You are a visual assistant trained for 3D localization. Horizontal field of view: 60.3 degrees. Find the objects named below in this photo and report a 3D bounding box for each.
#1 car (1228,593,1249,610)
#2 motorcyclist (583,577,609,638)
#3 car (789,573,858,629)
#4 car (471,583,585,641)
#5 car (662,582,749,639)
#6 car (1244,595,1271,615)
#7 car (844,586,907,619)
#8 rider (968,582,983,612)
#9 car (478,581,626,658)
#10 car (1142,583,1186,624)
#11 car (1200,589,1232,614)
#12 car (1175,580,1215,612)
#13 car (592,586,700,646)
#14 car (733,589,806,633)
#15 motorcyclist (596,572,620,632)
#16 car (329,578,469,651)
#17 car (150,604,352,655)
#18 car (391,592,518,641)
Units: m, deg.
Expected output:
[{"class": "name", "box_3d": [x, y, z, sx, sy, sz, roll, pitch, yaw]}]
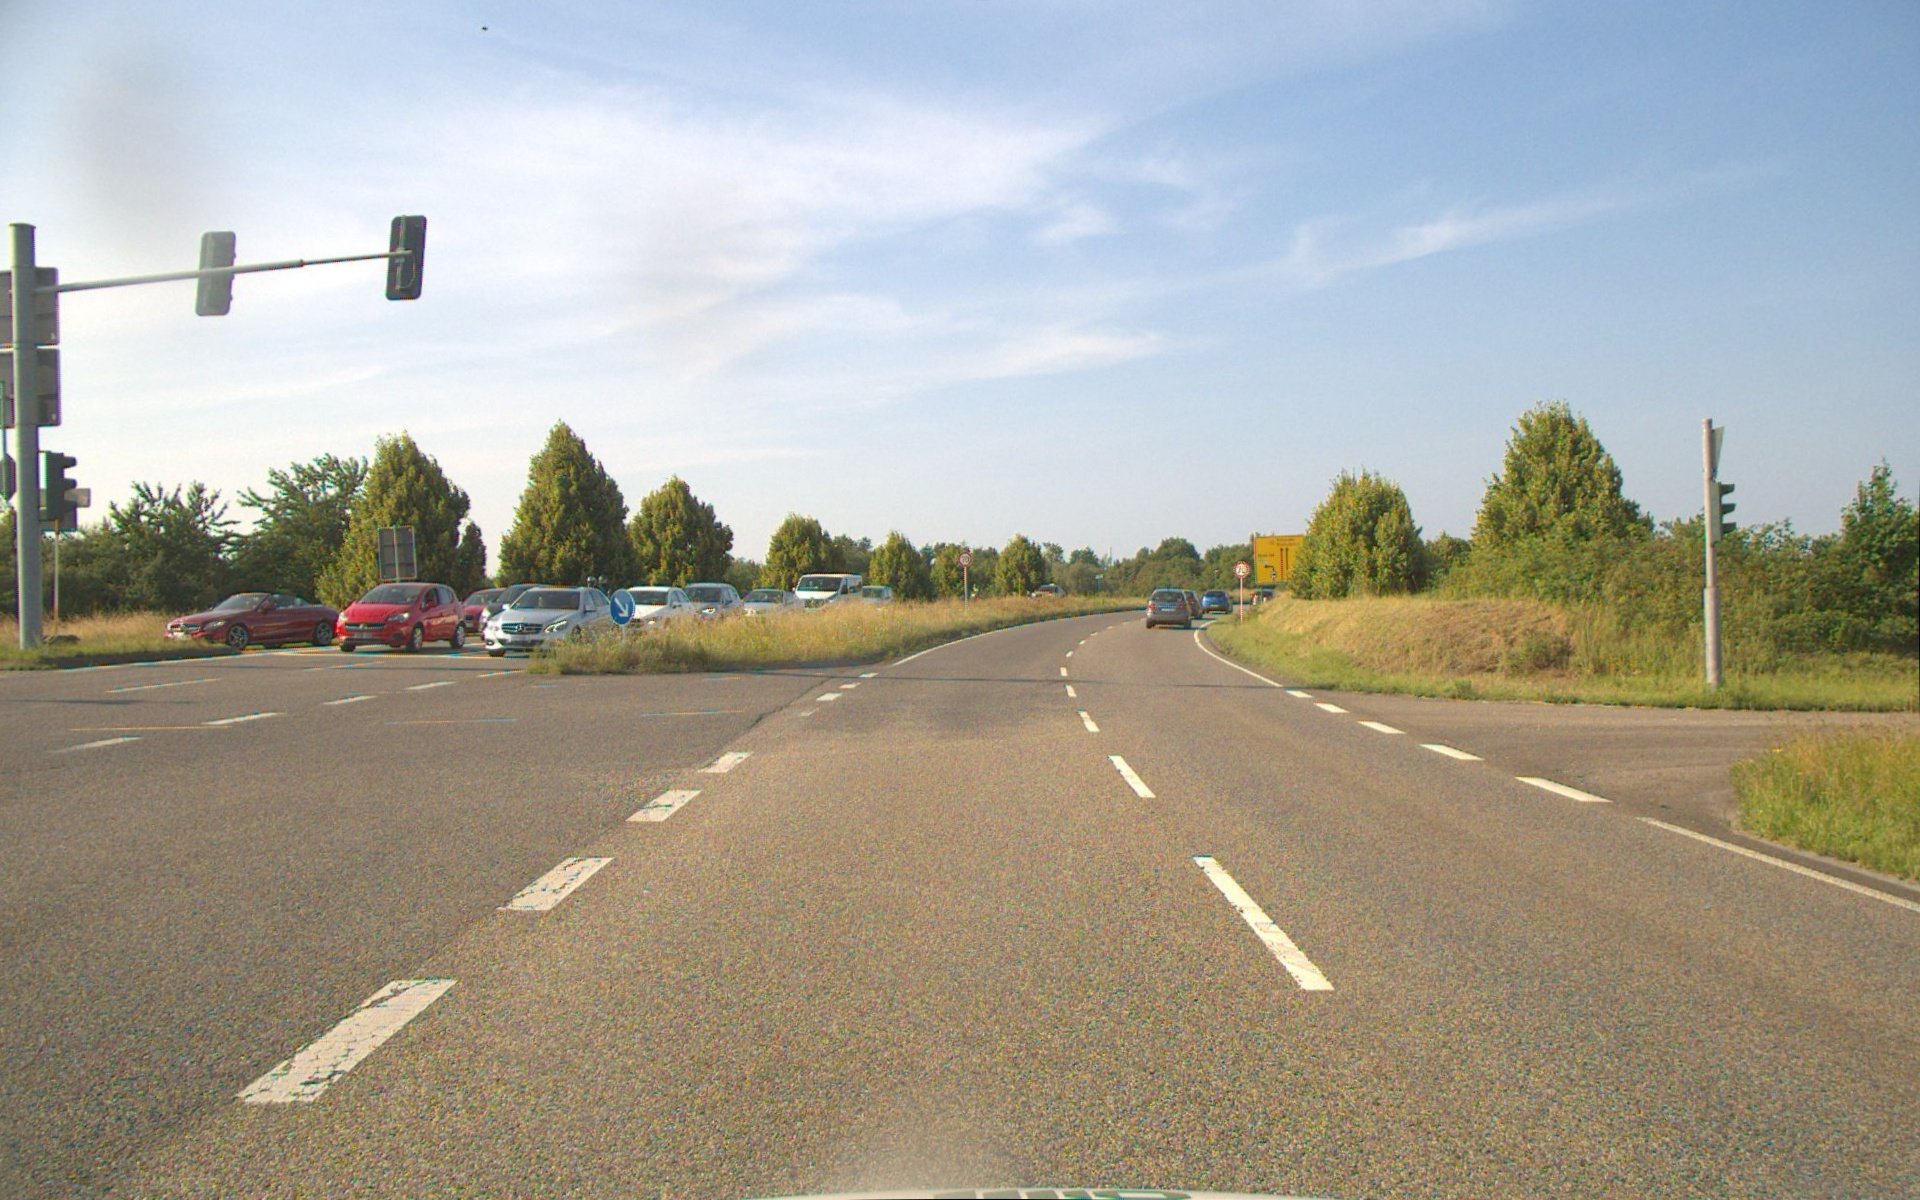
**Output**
[{"class": "car", "box_3d": [24.534, 0.115, 145.605, 1.735, 1.518, 3.988, 0, 0, 10]}, {"class": "motorcyclist", "box_3d": [-10.801, 0.217, 49.077, 0.649, 1.778, 0.605, 0, 0, -4]}, {"class": "car", "box_3d": [-5.315, 0.042, 64.904, 1.884, 2.114, 4.246, -1, 0, 7]}, {"class": "car", "box_3d": [-11.482, 0.304, 44.242, 1.748, 1.458, 4.053, -1, 0, 4]}, {"class": "car", "box_3d": [-7.531, 0.298, 49.289, 1.748, 1.596, 4.053, -1, 0, 4]}, {"class": "car", "box_3d": [22.414, 0.371, 124.665, 1.874, 1.440, 3.798, 0, -1, 13]}, {"class": "car", "box_3d": [-3.727, 0.117, 73.444, 1.748, 1.410, 4.055, -1, 0, 13]}, {"class": "rider", "box_3d": [1.040, -0.229, 113.112, 0.849, 2.049, 0.772, 0, 0, 15]}, {"class": "car", "box_3d": [-8.604, 0.386, 35.314, 1.748, 1.514, 4.653, -1, 0, 4]}, {"class": "car", "box_3d": [8.470, 0.169, 68.435, 1.746, 1.633, 4.199, 0, -1, 8]}, {"class": "car", "box_3d": [15.967, 0.066, 103.059, 1.735, 1.518, 3.988, 0, 0, 12]}, {"class": "car", "box_3d": [12.417, -0.206, 87.206, 1.771, 1.593, 4.535, 0, 0, 12]}, {"class": "car", "box_3d": [-8.110, 0.395, 43.078, 1.748, 1.458, 4.311, -1, 0, 4]}, {"class": "car", "box_3d": [-6.347, 0.358, 55.590, 1.748, 1.410, 4.053, -1, 0, 4]}, {"class": "motorcyclist", "box_3d": [-11.095, 0.062, 52.203, 0.649, 1.849, 0.605, 0, 0, -4]}, {"class": "car", "box_3d": [-12.287, 0.296, 36.461, 1.685, 1.514, 3.805, -1, 0, 1]}, {"class": "car", "box_3d": [-17.010, 0.669, 39.924, 1.952, 1.121, 4.479, 0, 0, 20]}, {"class": "car", "box_3d": [-14.449, 0.451, 47.481, 1.623, 1.350, 4.217, 0, 0, 12]}]
